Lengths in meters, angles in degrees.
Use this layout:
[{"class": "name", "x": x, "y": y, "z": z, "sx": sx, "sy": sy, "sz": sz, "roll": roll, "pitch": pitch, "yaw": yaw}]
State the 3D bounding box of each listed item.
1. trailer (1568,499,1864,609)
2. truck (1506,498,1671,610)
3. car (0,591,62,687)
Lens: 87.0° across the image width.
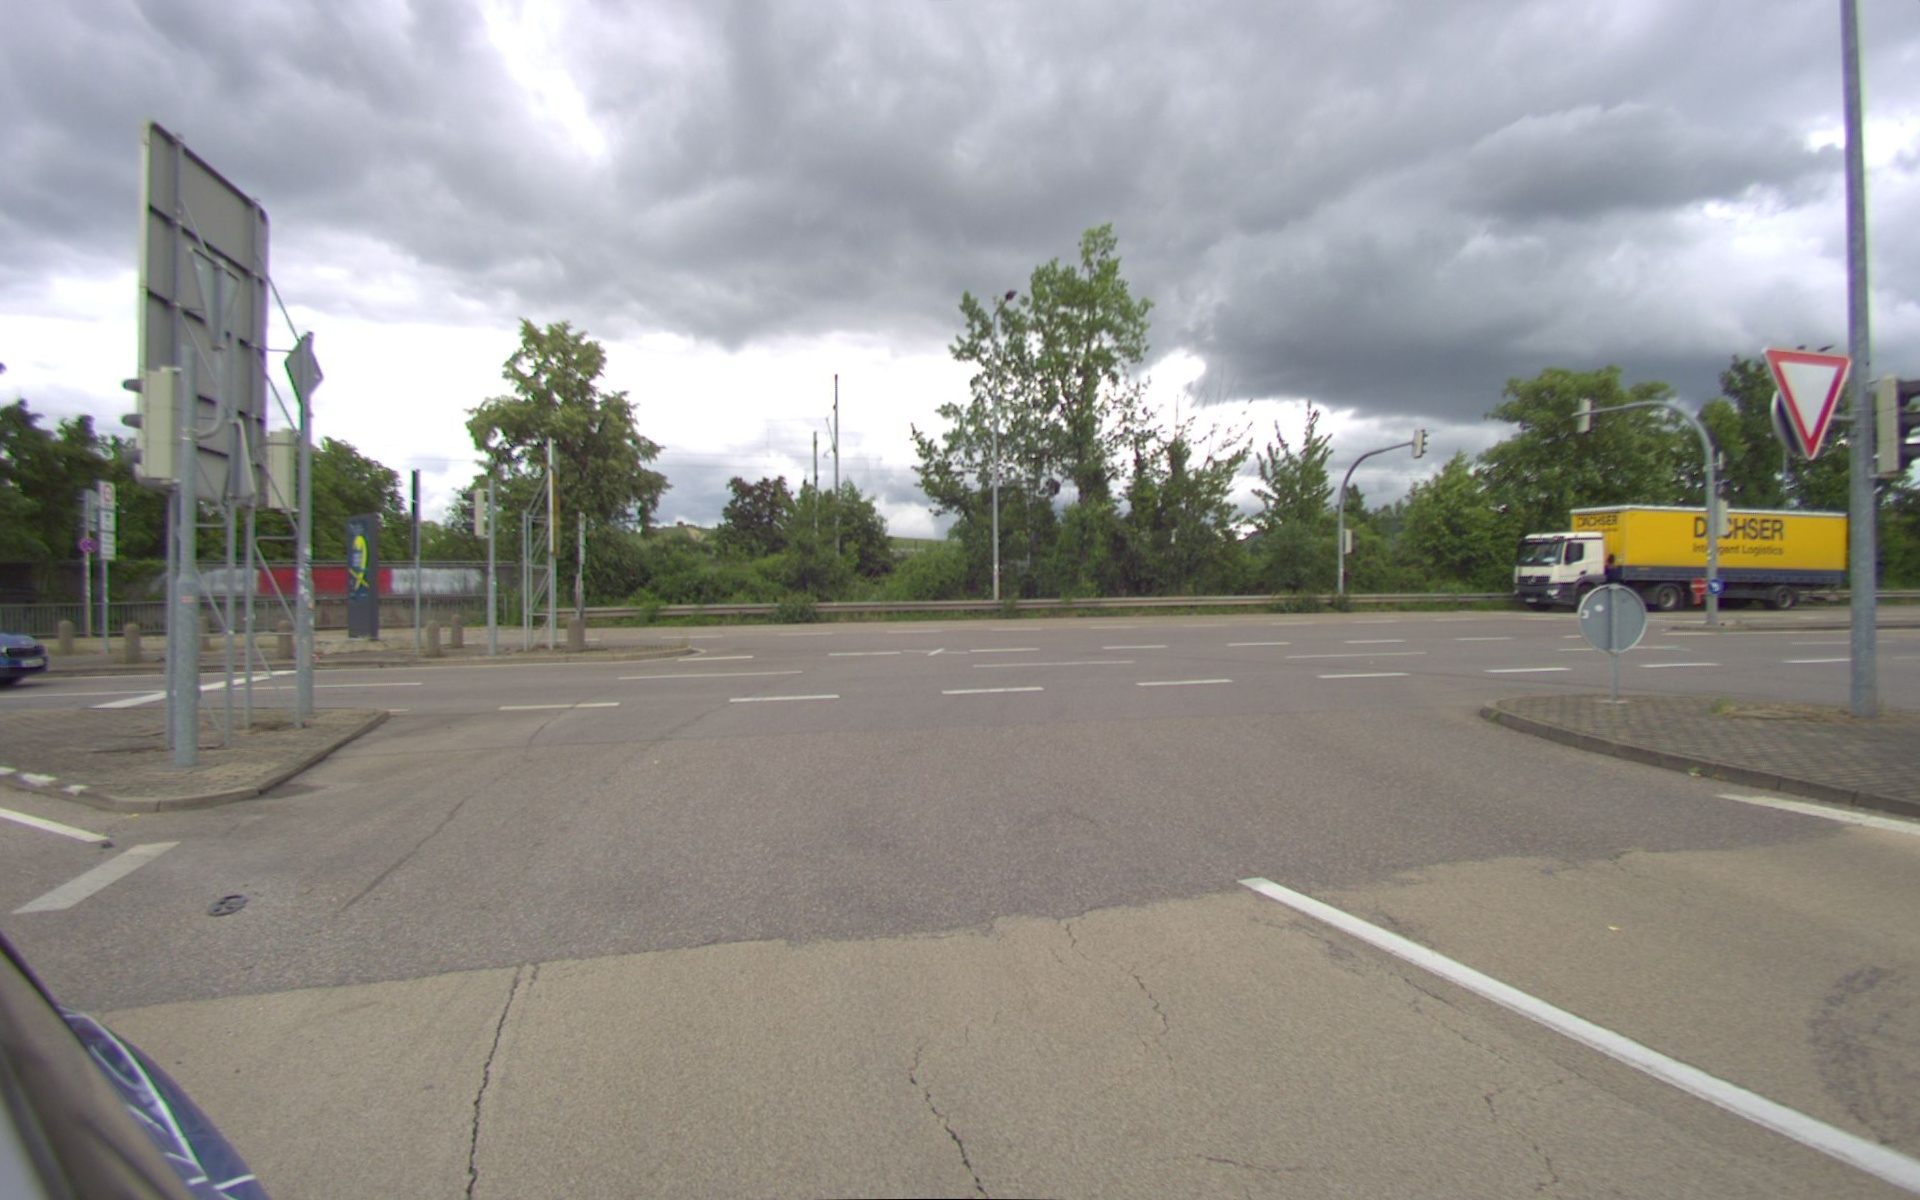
[{"class": "trailer", "x": 30.767, "y": -1.830, "z": 41.216, "sx": 11.464, "sy": 4.236, "sz": 2.642, "roll": -1, "pitch": 0, "yaw": -12}, {"class": "truck", "x": 24.745, "y": -1.771, "z": 39.948, "sx": 5.018, "sy": 4.236, "sz": 2.642, "roll": -1, "pitch": 0, "yaw": -12}, {"class": "car", "x": -17.089, "y": 0.647, "z": 15.730, "sx": 4.468, "sy": 1.465, "sz": 1.614, "roll": -1, "pitch": 1, "yaw": -11}]
